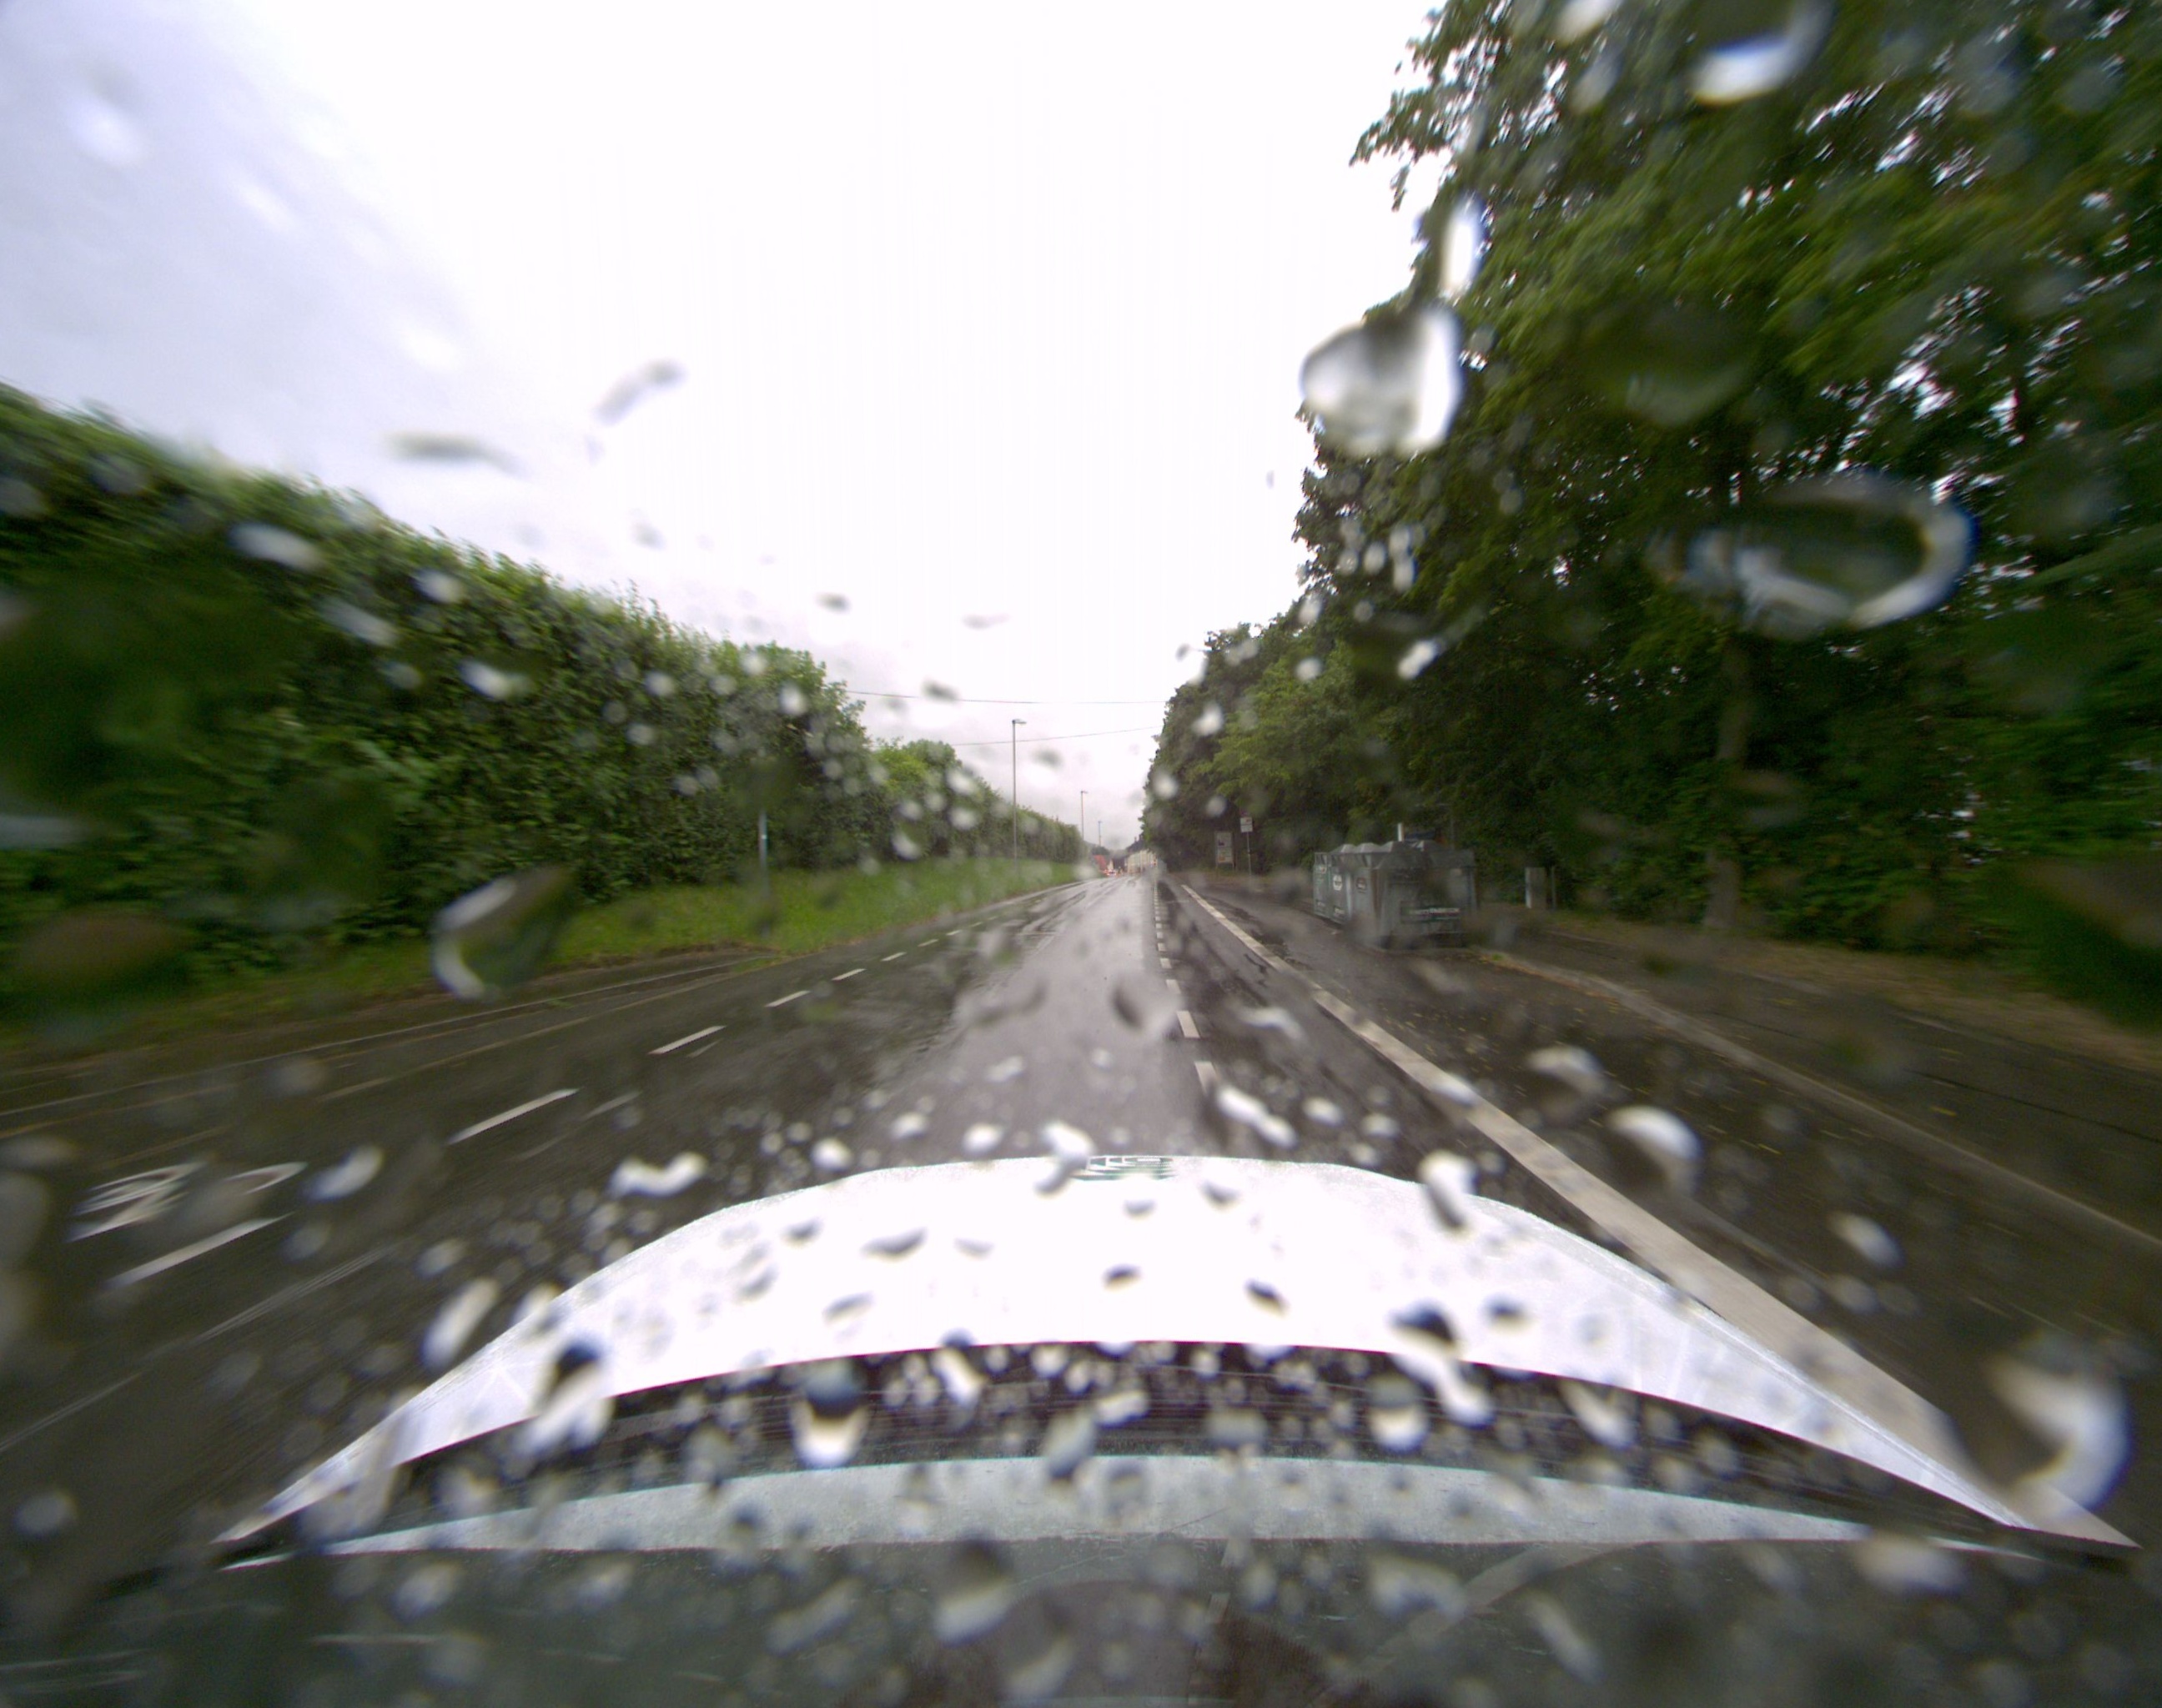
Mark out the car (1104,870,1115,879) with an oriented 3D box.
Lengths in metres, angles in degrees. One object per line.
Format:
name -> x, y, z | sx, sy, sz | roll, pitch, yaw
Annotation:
car -> 5.898, 4.258, 169.535 | 1.990, 1.611, 3.994 | 0, 0, -5
